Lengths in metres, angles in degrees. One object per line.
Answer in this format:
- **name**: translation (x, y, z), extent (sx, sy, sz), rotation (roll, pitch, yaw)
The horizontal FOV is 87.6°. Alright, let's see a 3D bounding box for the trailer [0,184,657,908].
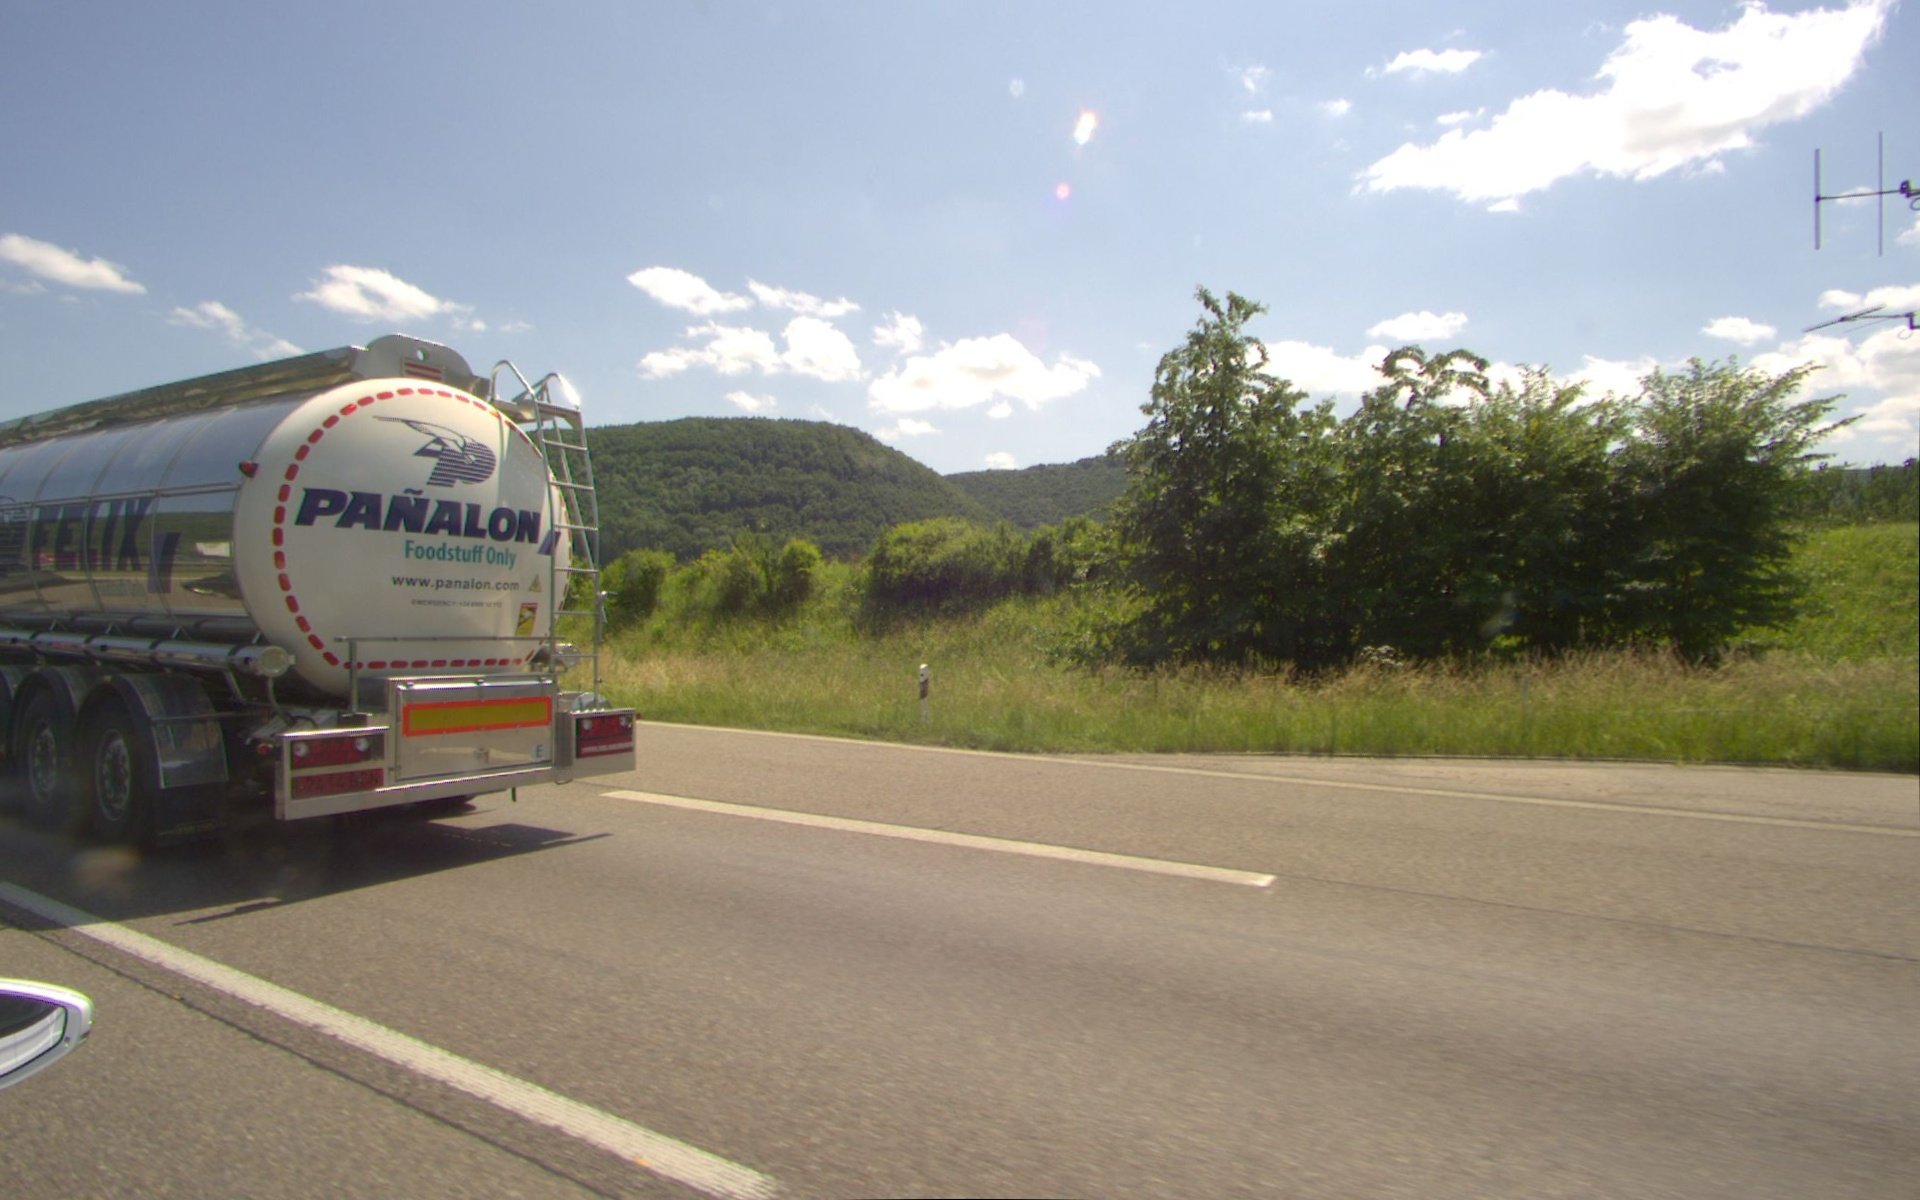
- **trailer**: translation (-7.871, -0.192, 9.425), extent (11.719, 3.783, 2.534), rotation (-1, -1, 32)

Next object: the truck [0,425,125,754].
- **truck**: translation (-13.320, -0.093, 12.875), extent (5.170, 3.807, 2.507), rotation (-1, -1, 32)
